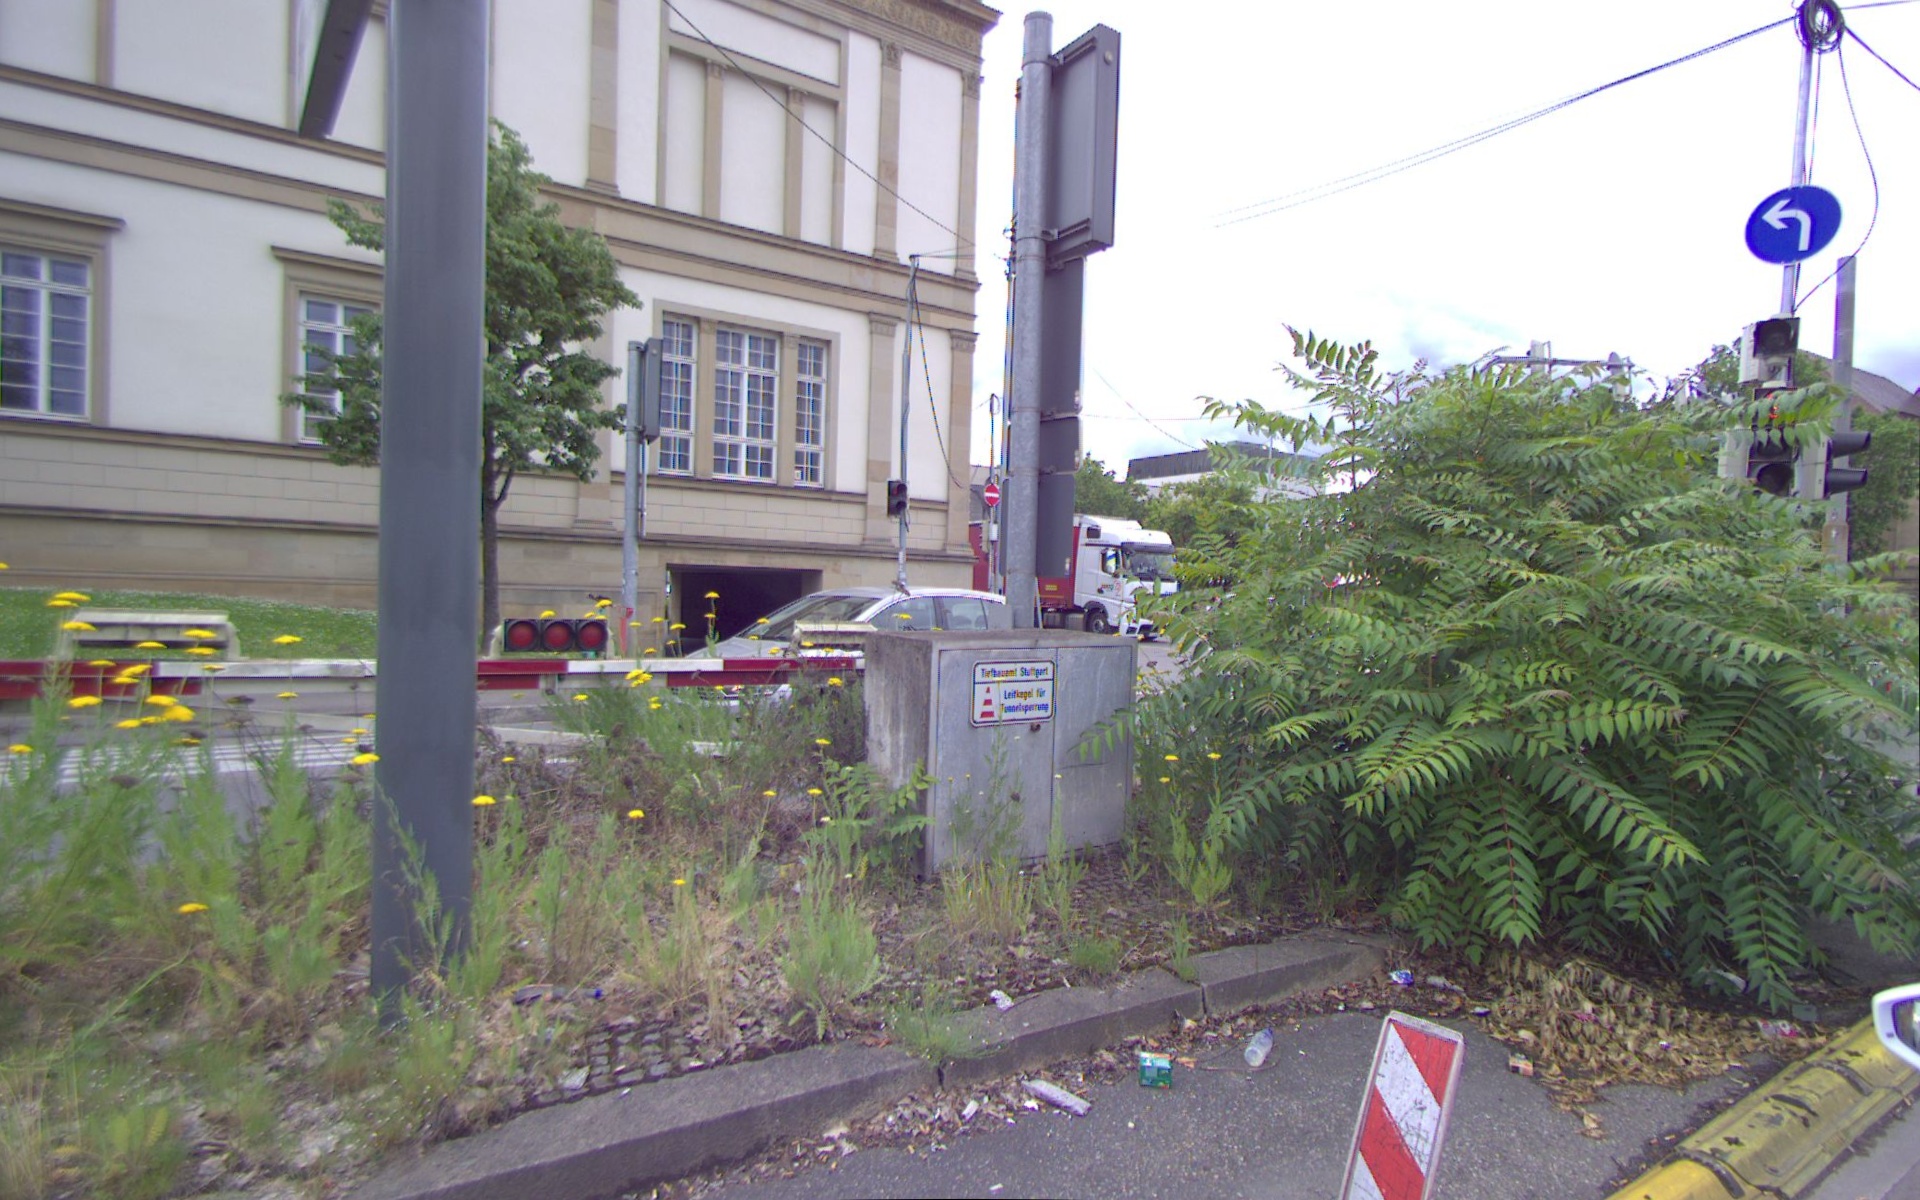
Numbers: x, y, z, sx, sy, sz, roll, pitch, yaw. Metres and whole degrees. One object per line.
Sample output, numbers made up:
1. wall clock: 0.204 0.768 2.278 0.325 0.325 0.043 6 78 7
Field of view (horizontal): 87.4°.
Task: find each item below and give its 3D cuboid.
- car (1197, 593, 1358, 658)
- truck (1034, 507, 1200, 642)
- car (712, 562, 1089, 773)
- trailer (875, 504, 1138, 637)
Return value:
1. car: 8.648 0.657 27.704 1.810 1.646 4.032 2 0 -31
2. truck: 5.138 -0.778 33.488 2.915 4.118 4.846 2 0 -34
3. car: -0.430 0.590 10.558 1.808 1.769 3.986 2 0 36
4. trailer: 1.186 -1.021 39.642 2.916 4.338 13.662 2 0 -33
